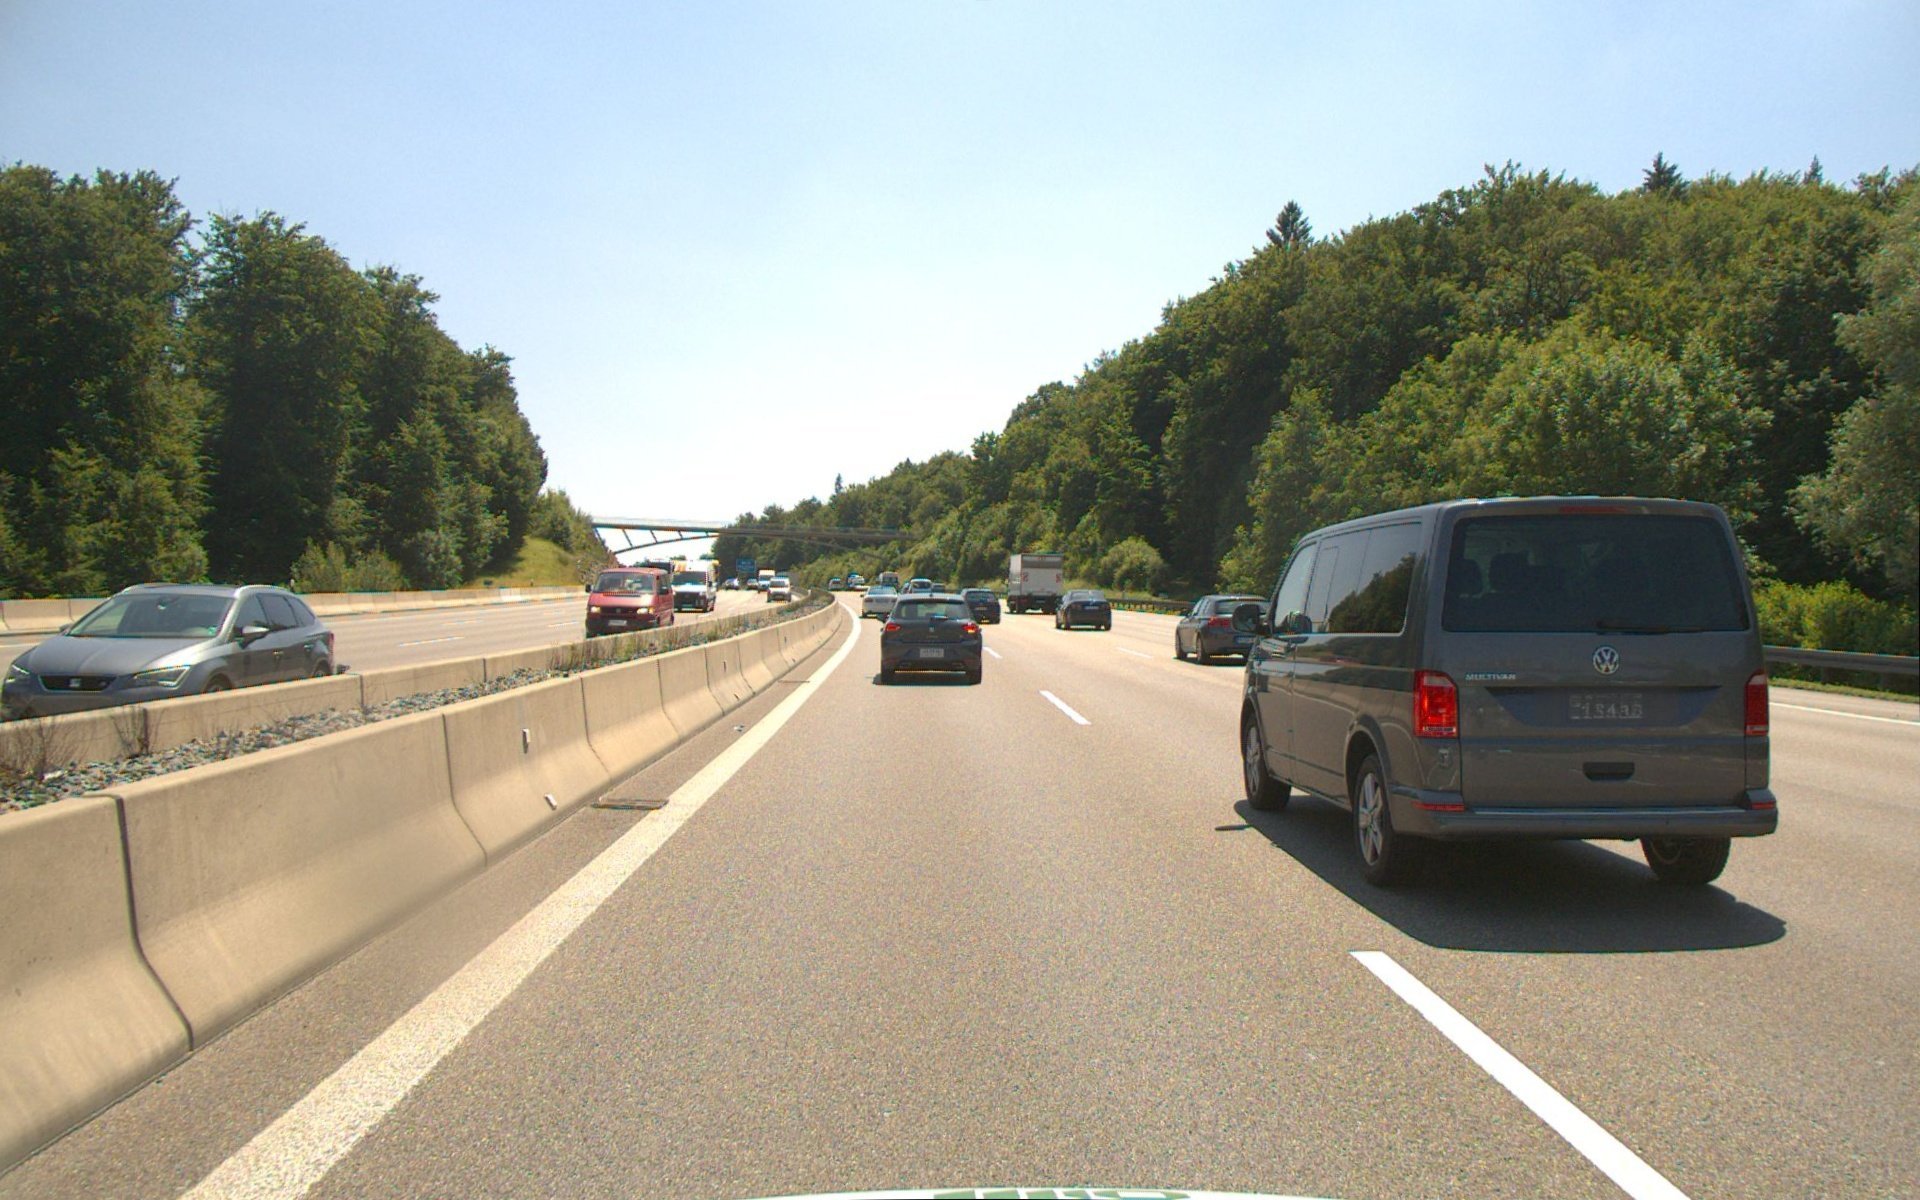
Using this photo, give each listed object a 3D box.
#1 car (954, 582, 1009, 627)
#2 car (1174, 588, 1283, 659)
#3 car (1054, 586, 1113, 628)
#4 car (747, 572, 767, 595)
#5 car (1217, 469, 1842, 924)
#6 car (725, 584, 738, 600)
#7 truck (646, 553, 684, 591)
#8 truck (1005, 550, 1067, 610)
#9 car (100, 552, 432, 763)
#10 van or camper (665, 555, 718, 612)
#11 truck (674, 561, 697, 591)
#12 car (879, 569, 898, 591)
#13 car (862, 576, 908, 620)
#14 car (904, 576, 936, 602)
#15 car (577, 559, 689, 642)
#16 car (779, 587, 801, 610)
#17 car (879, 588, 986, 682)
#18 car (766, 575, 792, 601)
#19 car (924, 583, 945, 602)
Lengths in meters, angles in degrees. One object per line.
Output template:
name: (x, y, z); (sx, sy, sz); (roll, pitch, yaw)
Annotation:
car: (0.872, 0.226, 69.154); (1.954, 1.758, 4.145); (1, -2, -4)
car: (5.713, 0.465, 35.573); (1.667, 1.420, 4.153); (1, 0, 0)
car: (4.511, 0.239, 61.001); (1.632, 1.433, 4.901); (1, 1, -2)
car: (-22.430, -1.853, 182.954); (2.113, 2.533, 4.696); (0, 1, -6)
car: (3.022, 0.437, 10.142); (1.923, 2.069, 5.081); (1, 0, -2)
car: (-32.696, -1.166, 236.366); (1.611, 2.049, 3.995); (2, -2, -5)
truck: (-28.870, -2.675, 162.047); (2.558, 3.526, 9.873); (2, 0, -4)
truck: (4.211, -1.123, 92.933); (2.925, 3.222, 7.572); (1, 1, -2)
car: (-7.463, 0.605, 18.406); (1.734, 1.978, 5.083); (2, -1, -3)
van or camper: (-14.053, -0.834, 86.992); (1.954, 2.848, 7.409); (1, 0, -3)
truck: (-38.888, -3.427, 234.662); (2.697, 4.087, 6.744); (1, 1, -6)
car: (-8.203, -2.242, 189.402); (2.220, 2.413, 4.699); (0, 0, -3)
car: (-3.547, -0.053, 78.624); (1.971, 1.878, 3.999); (1, -3, 0)
car: (-2.851, -0.792, 116.217); (2.061, 1.774, 4.685); (1, 1, -3)
car: (-8.478, 0.003, 43.246); (2.191, 2.049, 4.227); (1, 0, -2)
car: (-17.090, -0.136, 166.272); (1.954, 2.049, 3.996); (2, -2, -4)
car: (-0.480, 0.538, 28.274); (1.673, 1.458, 3.999); (1, 0, -2)
car: (-13.538, -0.895, 123.715); (1.783, 1.904, 4.584); (0, 1, -5)
car: (-2.845, -0.819, 180.999); (2.102, 1.890, 3.997); (2, -1, -3)
